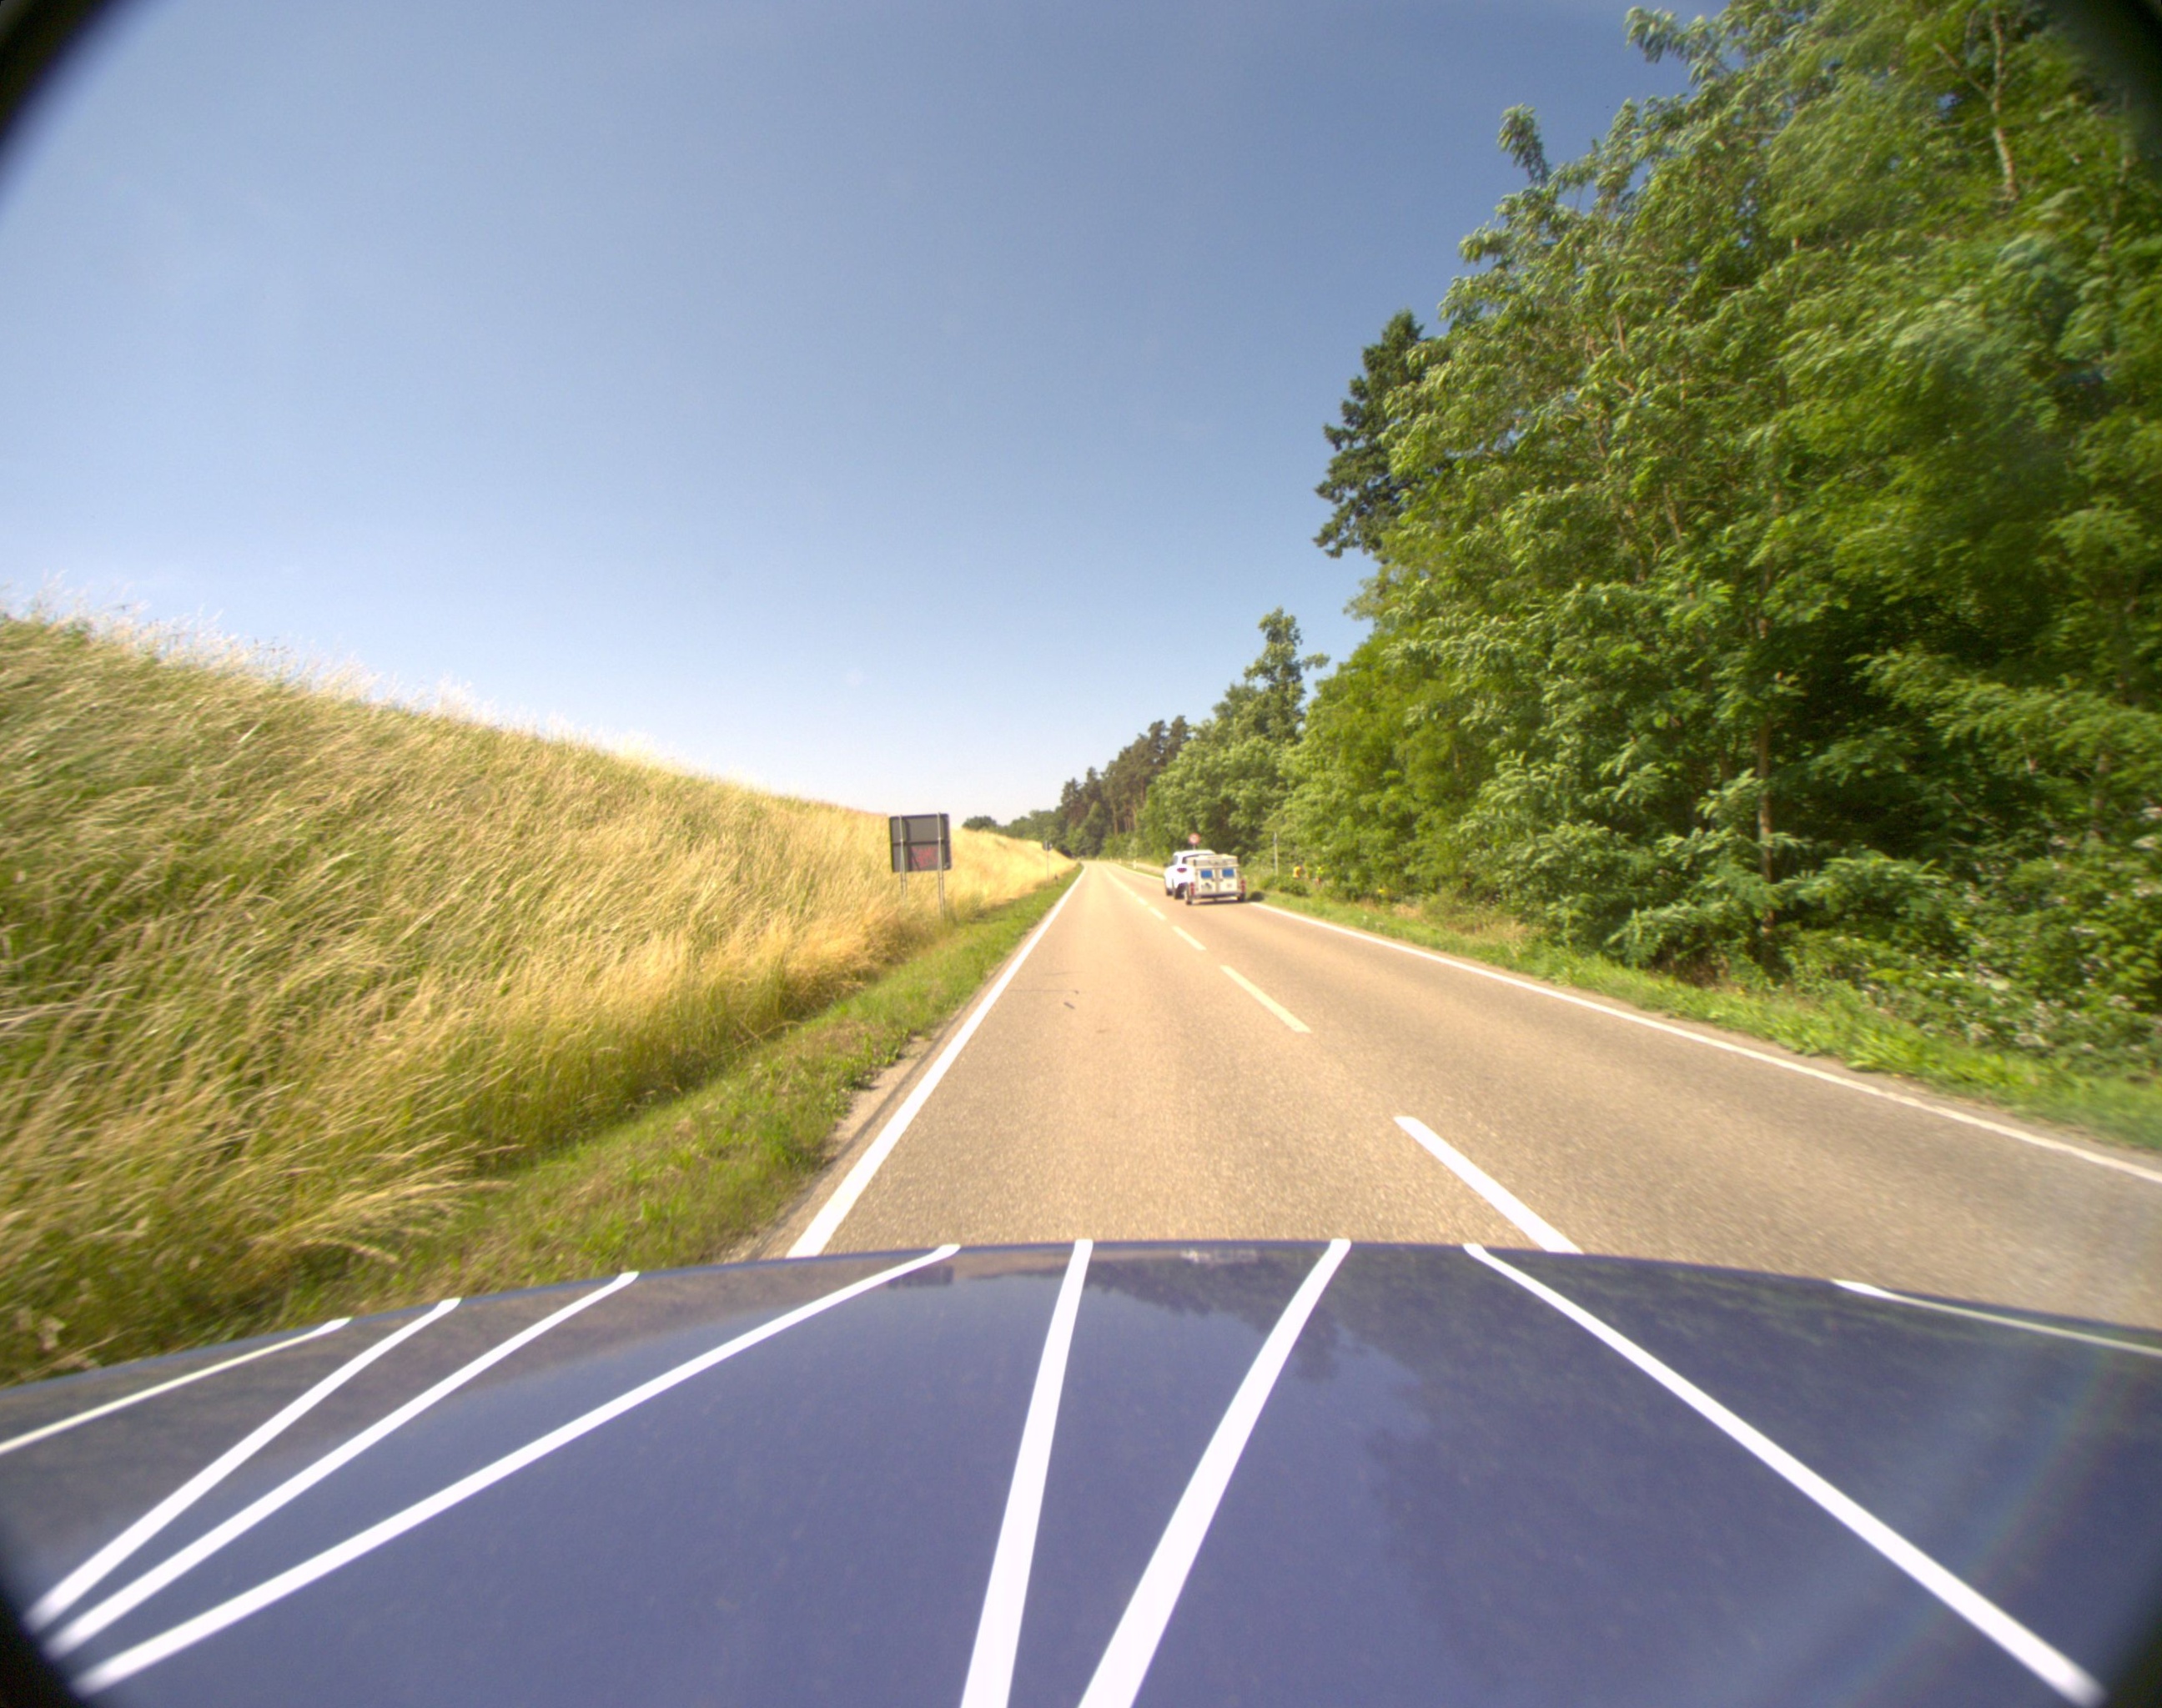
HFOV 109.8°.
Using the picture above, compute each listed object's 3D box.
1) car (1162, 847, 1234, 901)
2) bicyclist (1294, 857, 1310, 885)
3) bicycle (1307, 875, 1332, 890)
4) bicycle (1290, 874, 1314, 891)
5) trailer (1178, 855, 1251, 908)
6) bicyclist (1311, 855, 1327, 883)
[{"bbox_3d":[3.960,0.659,26.251,1.814,1.667,4.000,-2,-1,0],"label":"car"},{"bbox_3d":[11.372,0.867,39.042,0.606,1.407,0.702,-1,2,1],"label":"bicyclist"},{"bbox_3d":[12.351,1.476,39.388,0.620,0.677,2.137,-1,0,1],"label":"bicycle"},{"bbox_3d":[11.355,1.455,39.109,0.641,0.783,2.137,-1,0,2],"label":"bicycle"},{"bbox_3d":[3.897,0.752,22.611,1.563,1.433,3.268,-1,0,0],"label":"trailer"},{"bbox_3d":[12.312,0.769,39.351,0.606,1.407,0.702,-1,0,1],"label":"bicyclist"}]
